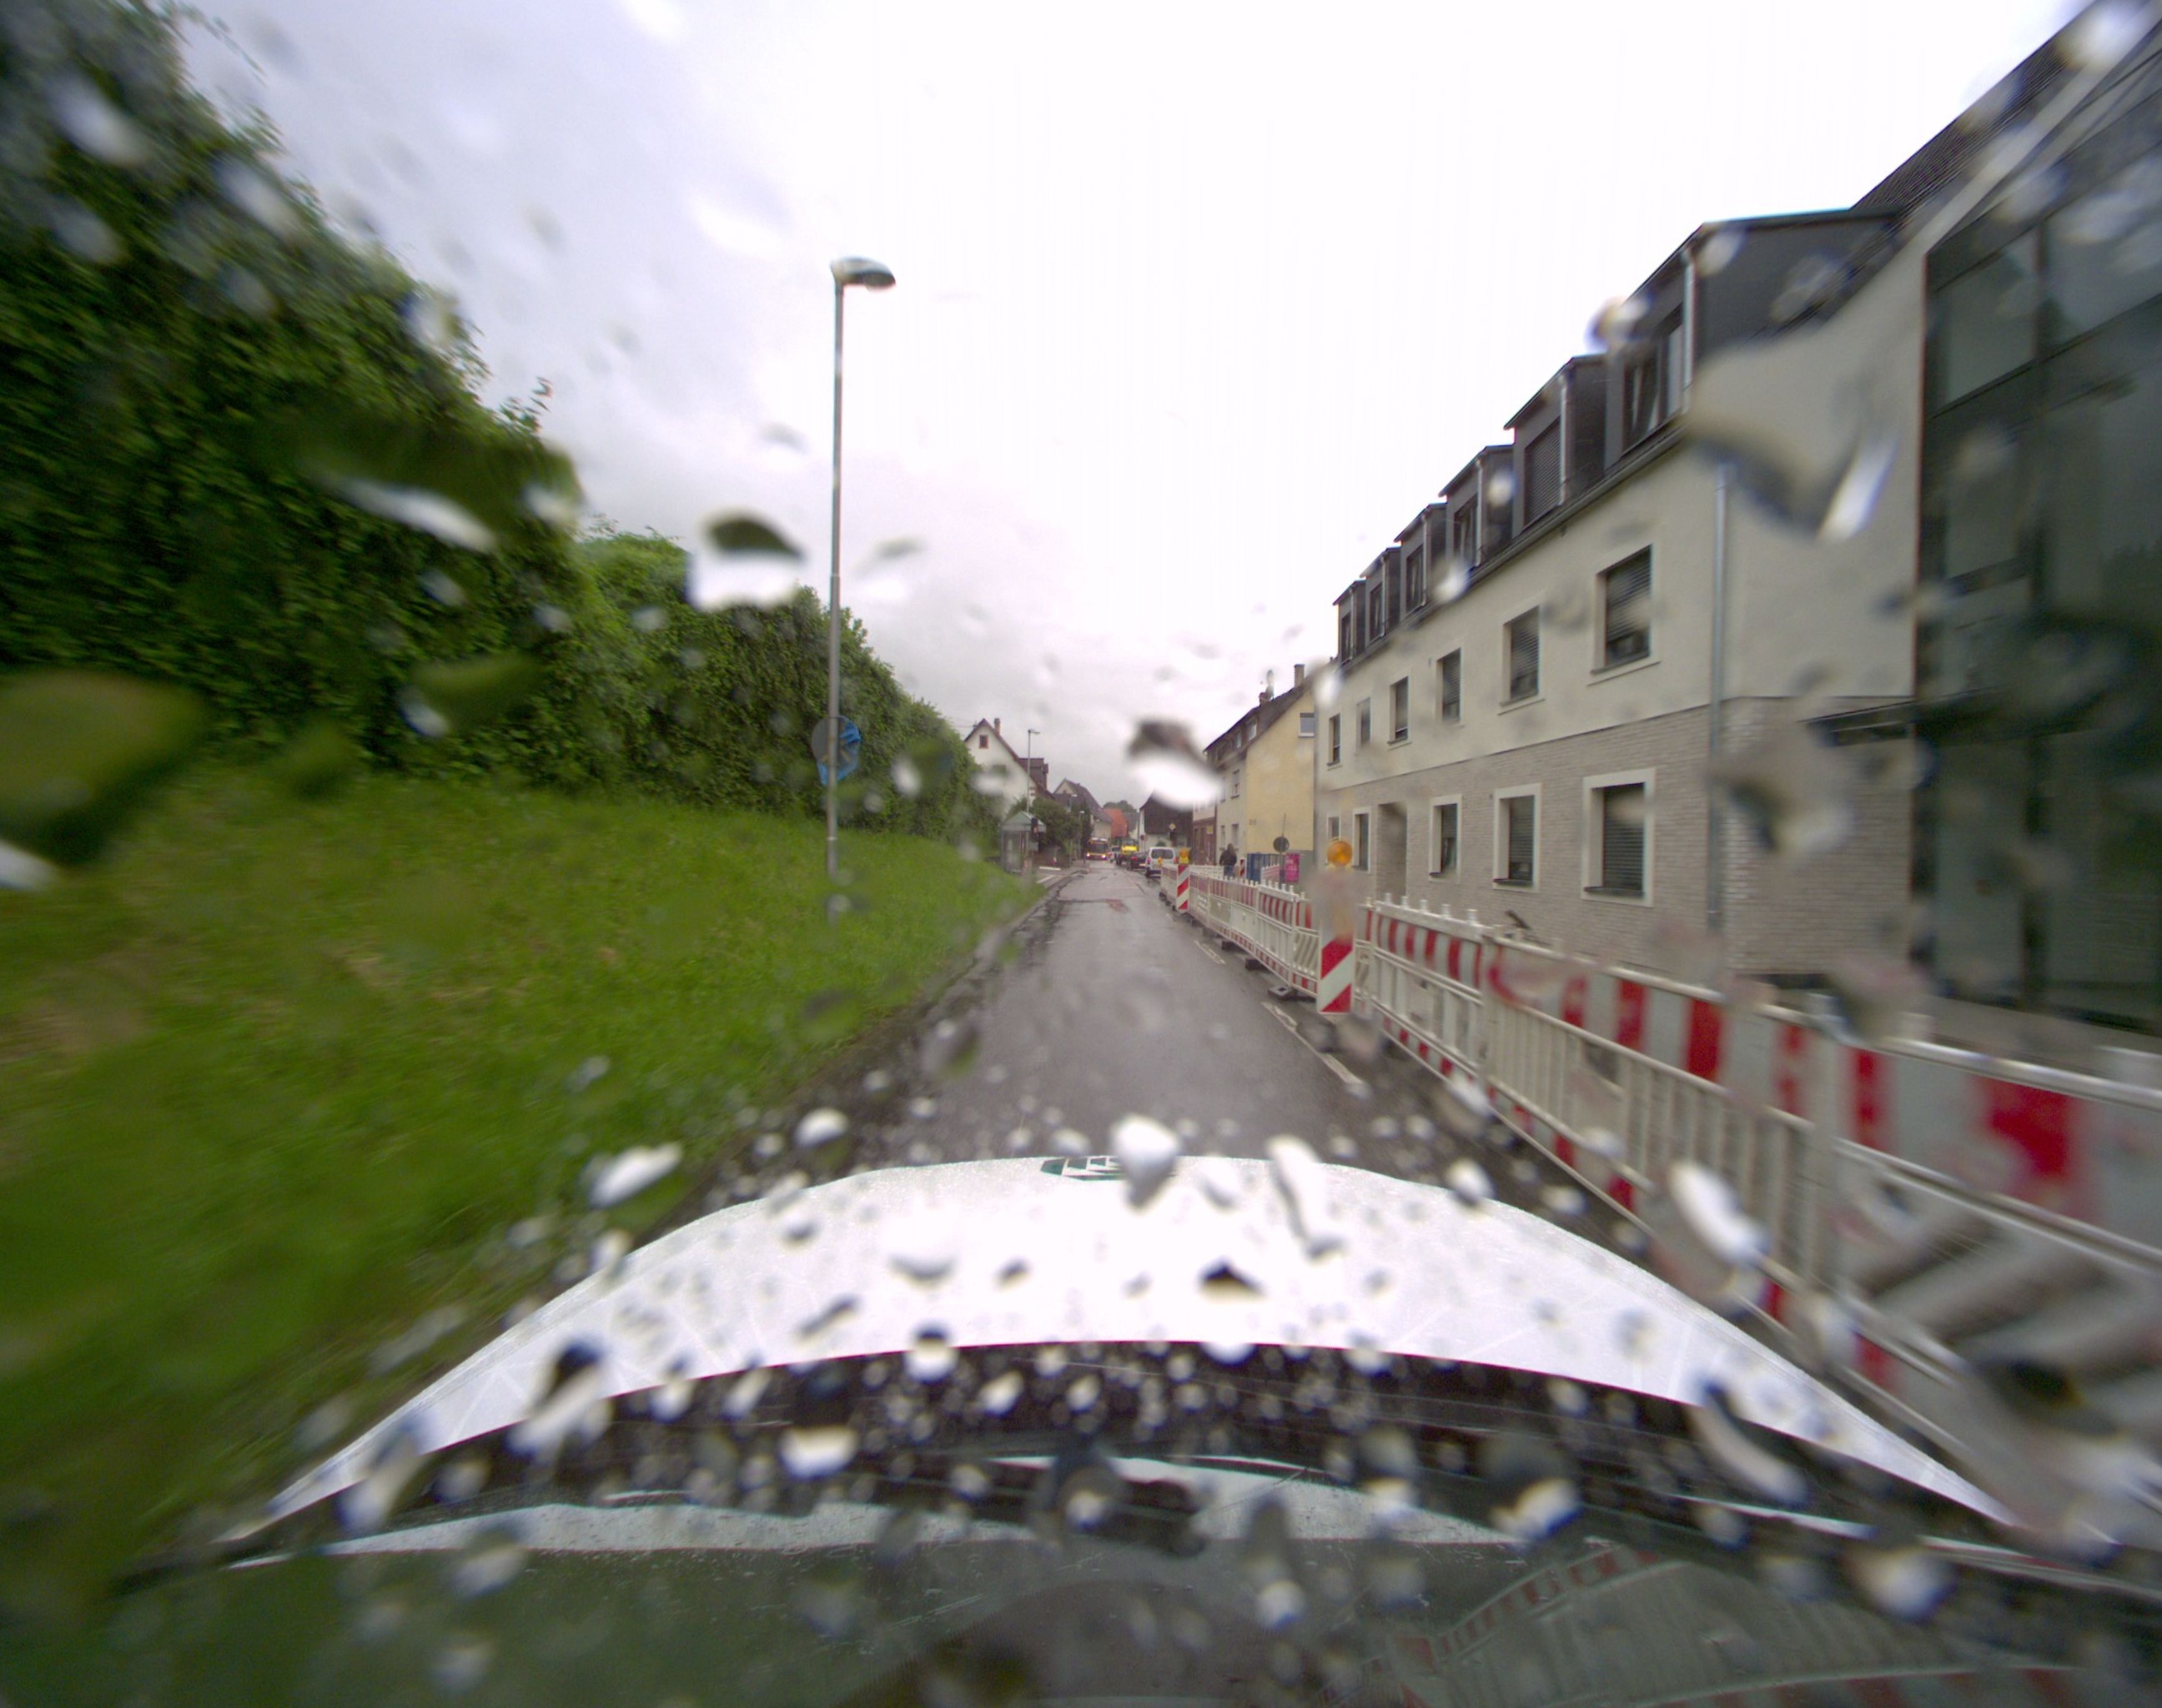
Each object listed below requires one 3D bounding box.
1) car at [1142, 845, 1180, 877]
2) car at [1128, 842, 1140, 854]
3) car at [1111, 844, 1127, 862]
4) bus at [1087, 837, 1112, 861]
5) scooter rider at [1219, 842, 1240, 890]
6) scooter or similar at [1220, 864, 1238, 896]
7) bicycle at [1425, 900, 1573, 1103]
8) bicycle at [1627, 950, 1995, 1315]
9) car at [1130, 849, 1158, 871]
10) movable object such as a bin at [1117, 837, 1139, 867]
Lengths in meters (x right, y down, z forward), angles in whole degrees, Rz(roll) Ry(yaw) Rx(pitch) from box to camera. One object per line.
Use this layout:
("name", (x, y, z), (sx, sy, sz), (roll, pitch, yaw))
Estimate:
("car", (4.765, 0.393, 48.897), (1.888, 1.793, 3.814), (2, 1, 1))
("car", (9.391, -1.099, 144.571), (1.984, 2.013, 4.006), (-1, 0, 5))
("car", (4.649, -0.139, 98.726), (1.718, 2.007, 3.980), (2, 1, 5))
("bus", (2.756, -0.827, 115.681), (2.637, 2.999, 12.212), (1, 2, 5))
("scooter rider", (5.487, 0.441, 30.089), (0.726, 1.733, 0.519), (1, 0, 9))
("scooter or similar", (5.462, 0.941, 29.966), (0.616, 1.127, 1.406), (1, 0, 10))
("bicycle", (2.754, 0.917, 5.474), (0.404, 1.143, 1.222), (-1, 0, 3))
("bicycle", (2.760, 0.969, 3.238), (0.404, 1.029, 1.222), (-1, 0, 3))
("car", (4.839, 0.437, 62.802), (1.804, 1.596, 3.754), (2, 1, -1))
("movable object such as a bin", (4.382, -0.206, 76.318), (1.721, 2.653, 3.974), (2, 1, 0))
